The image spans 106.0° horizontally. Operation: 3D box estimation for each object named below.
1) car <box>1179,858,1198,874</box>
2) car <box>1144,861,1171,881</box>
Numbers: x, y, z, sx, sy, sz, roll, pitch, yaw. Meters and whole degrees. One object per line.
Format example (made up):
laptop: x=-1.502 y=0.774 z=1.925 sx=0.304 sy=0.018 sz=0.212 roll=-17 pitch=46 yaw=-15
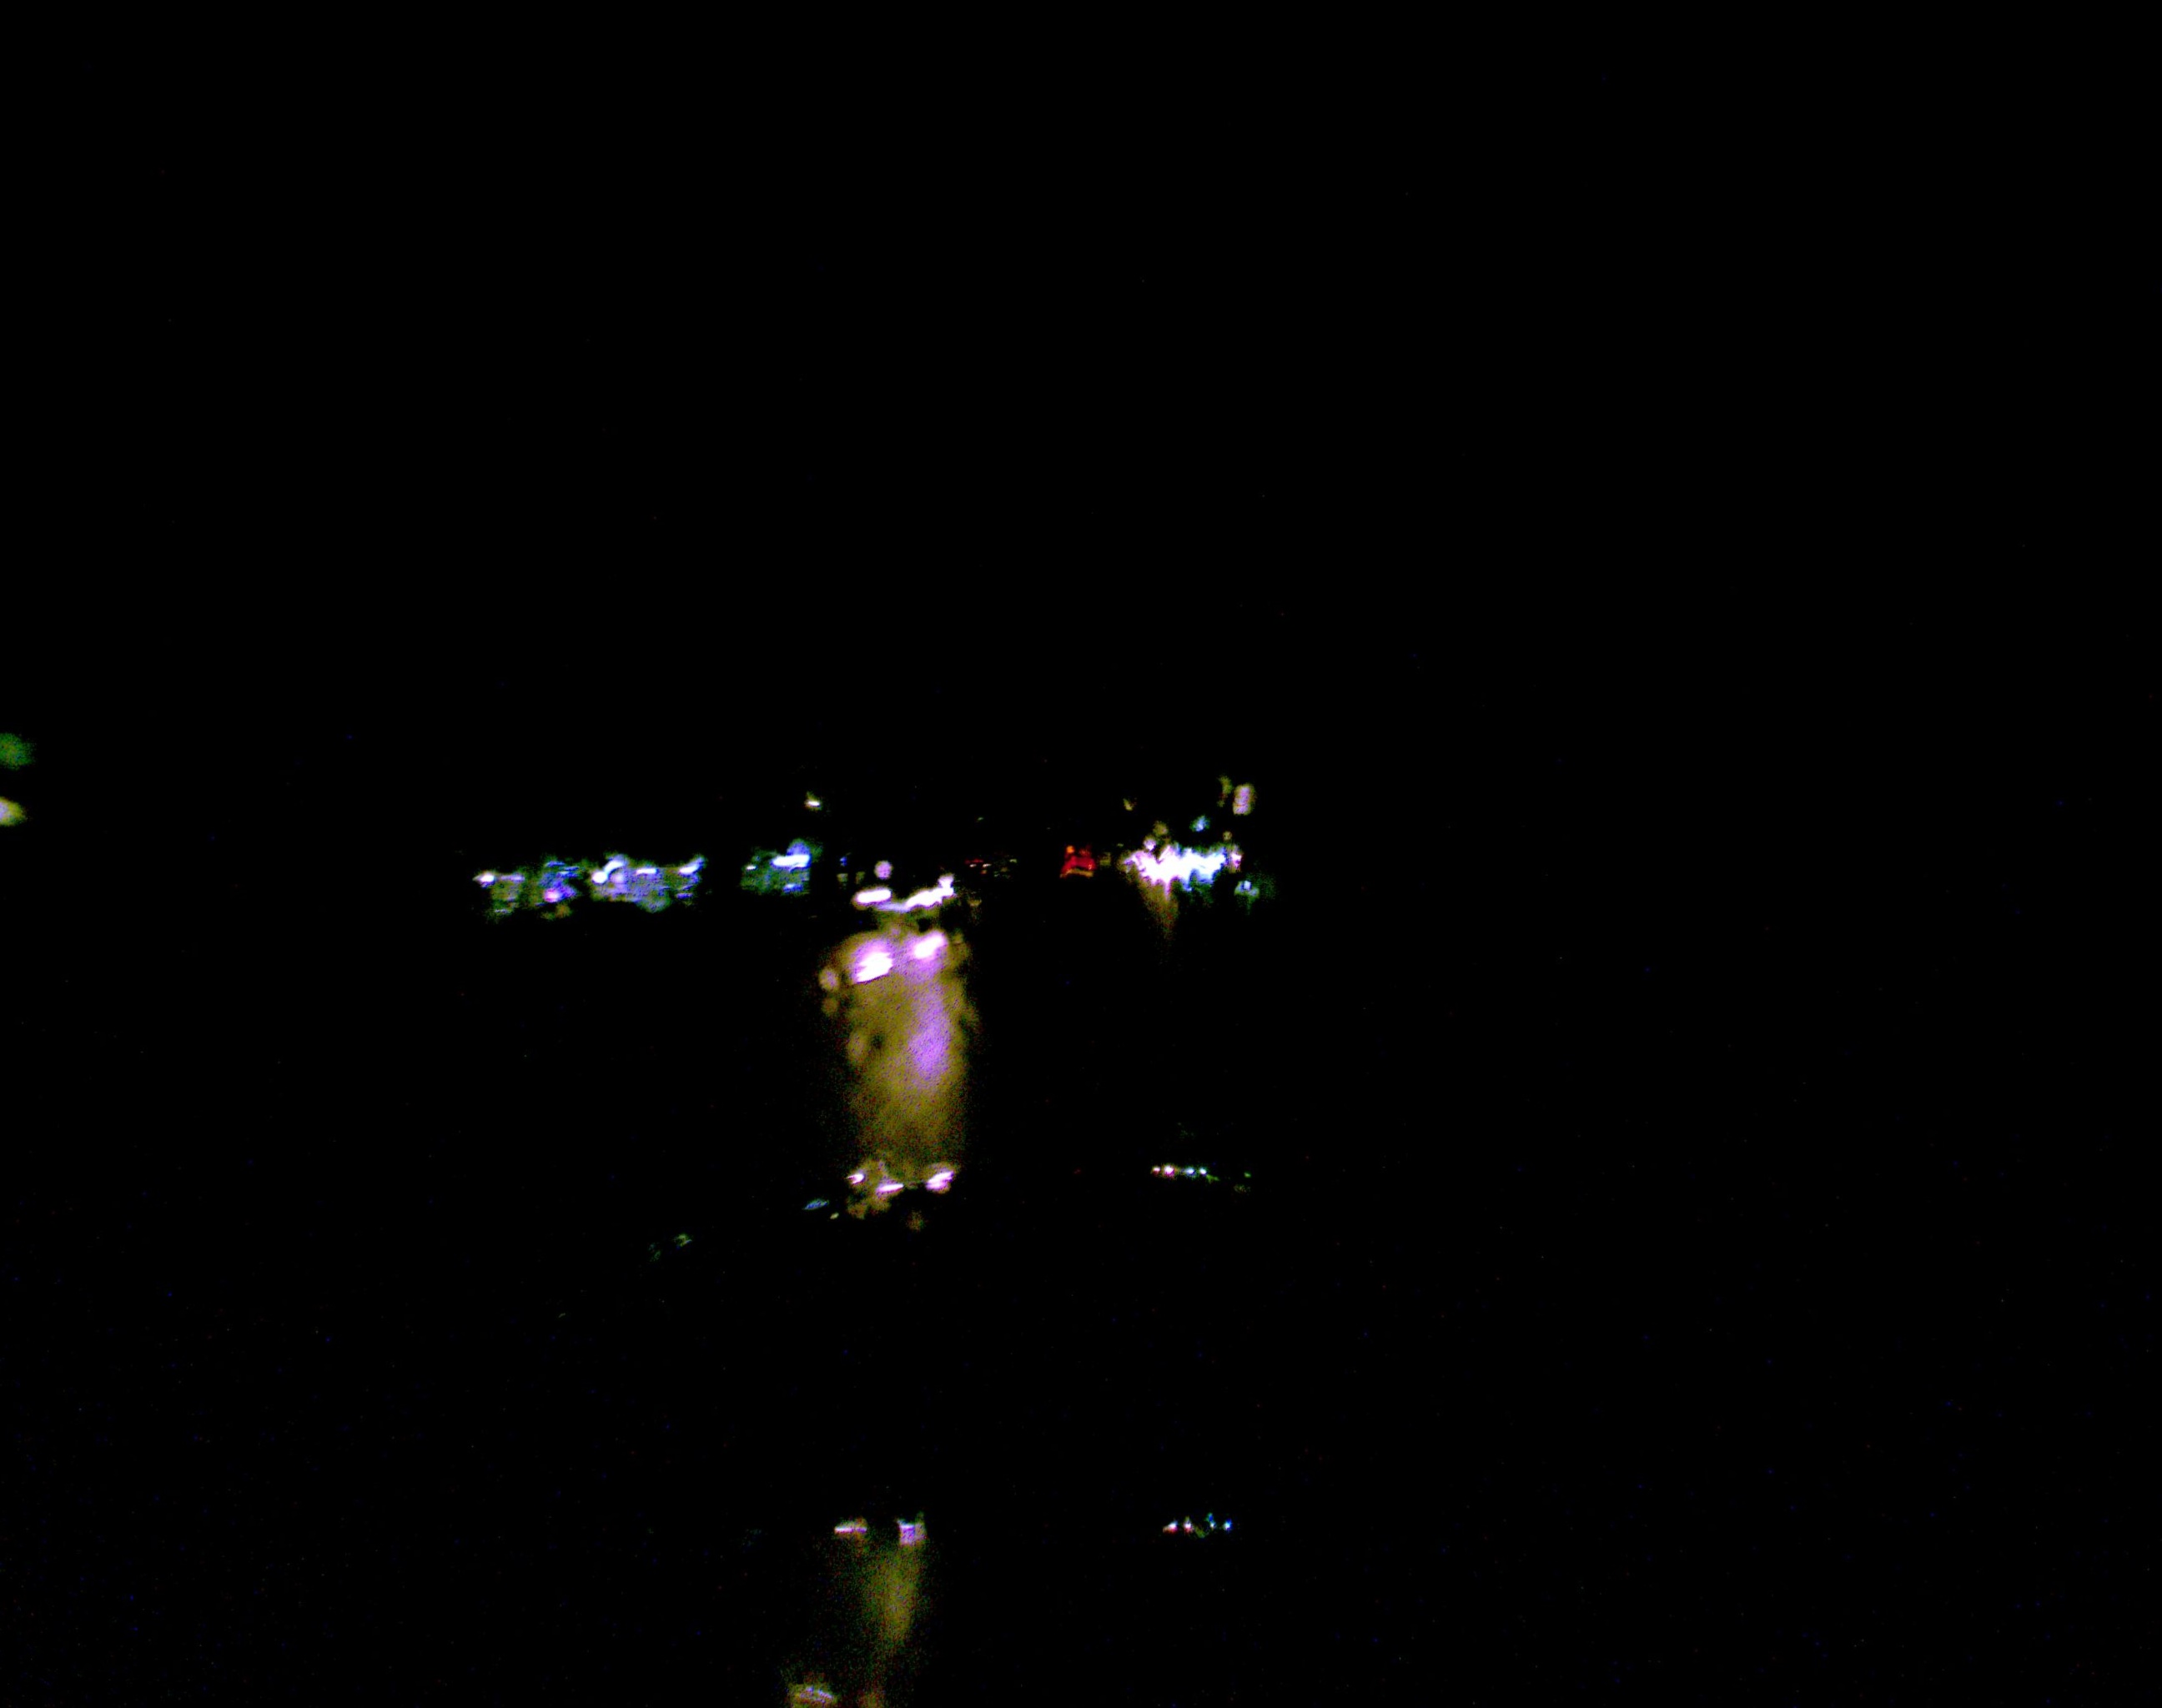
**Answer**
car: x=11.827 y=1.330 z=89.328 sx=1.982 sy=1.602 sz=4.010 roll=-1 pitch=-2 yaw=9
car: x=6.504 y=1.459 z=68.611 sx=1.982 sy=1.602 sz=4.010 roll=-1 pitch=-2 yaw=9
